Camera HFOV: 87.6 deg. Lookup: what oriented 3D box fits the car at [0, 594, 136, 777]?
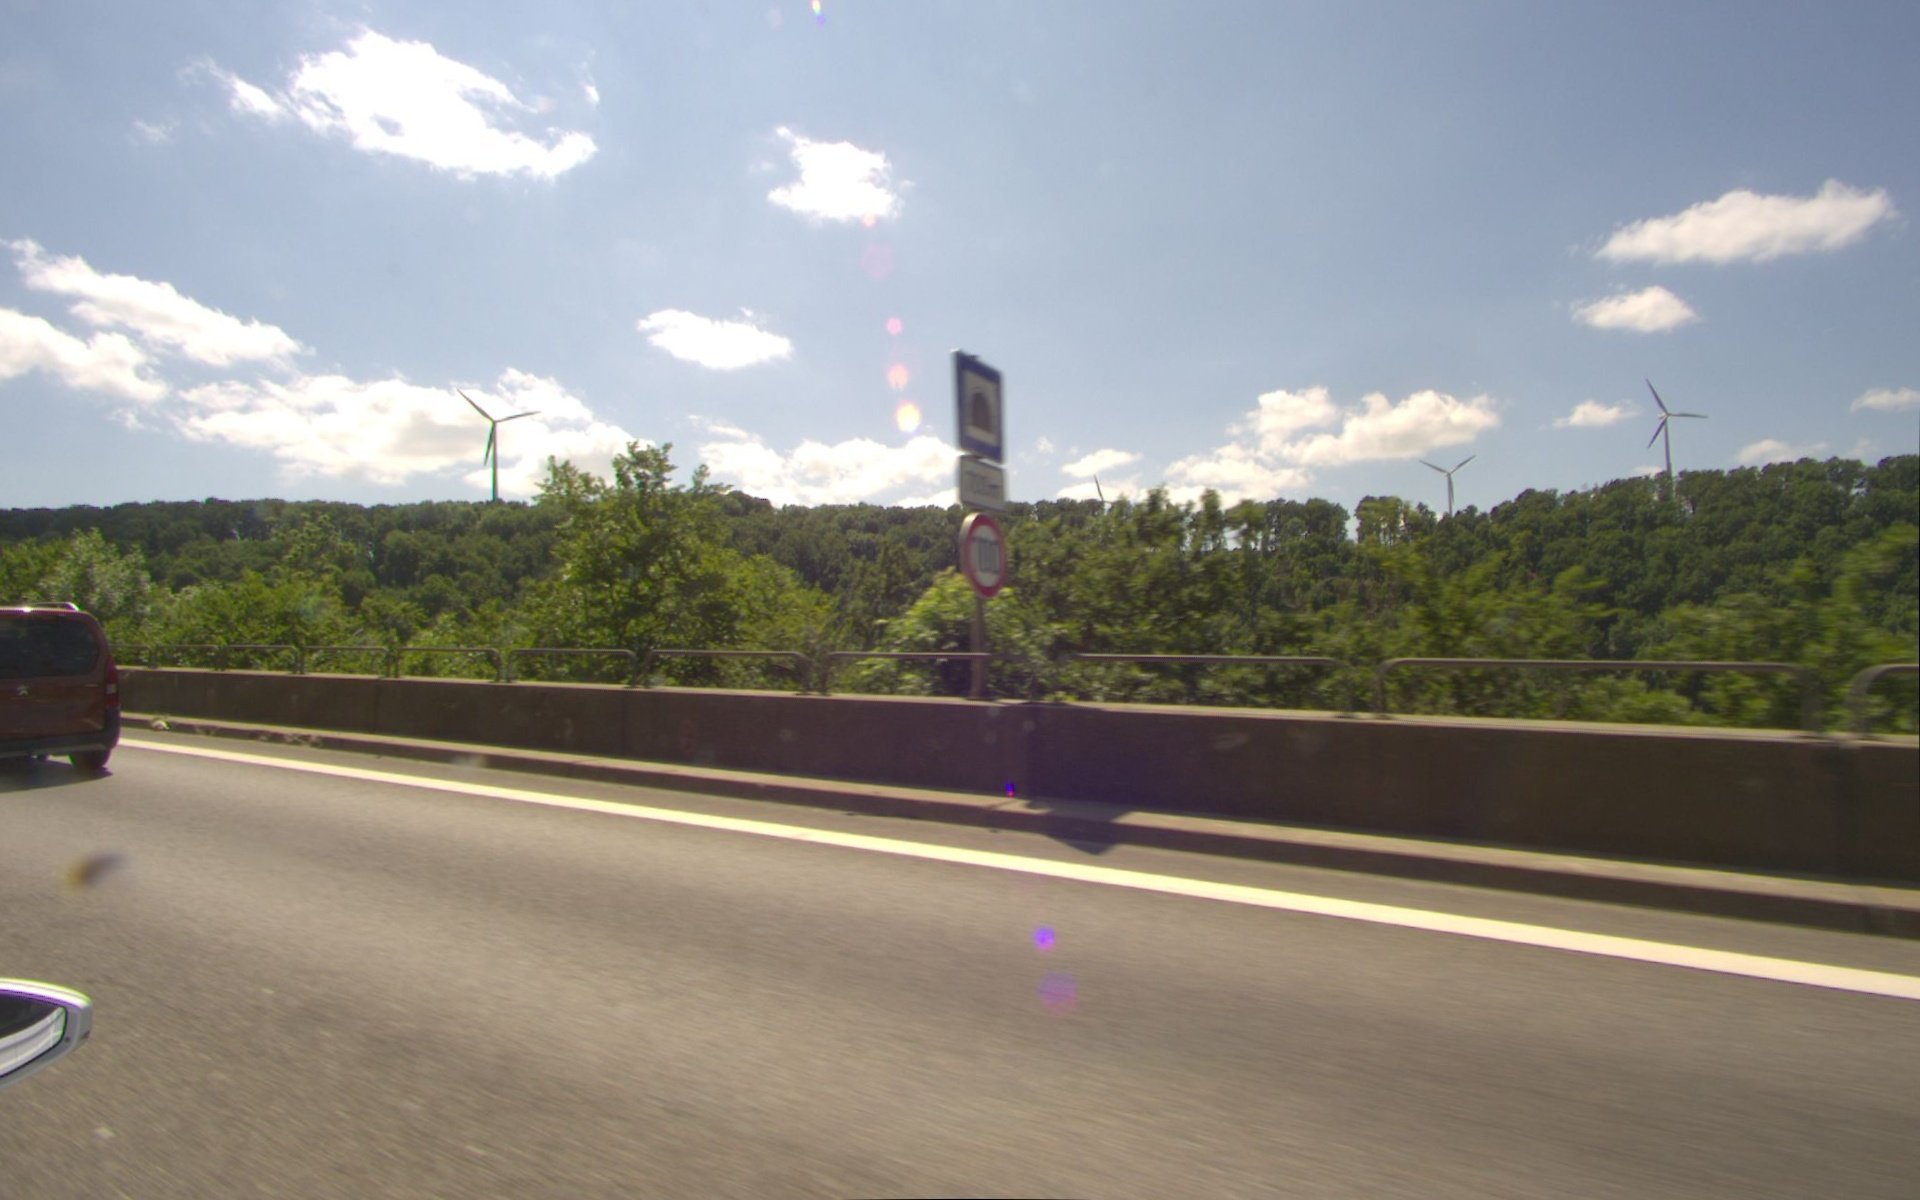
[{"bbox_3d":[-11.318,0.906,11.266,4.610,1.807,1.830,-2,-1,33],"label":"car"}]
